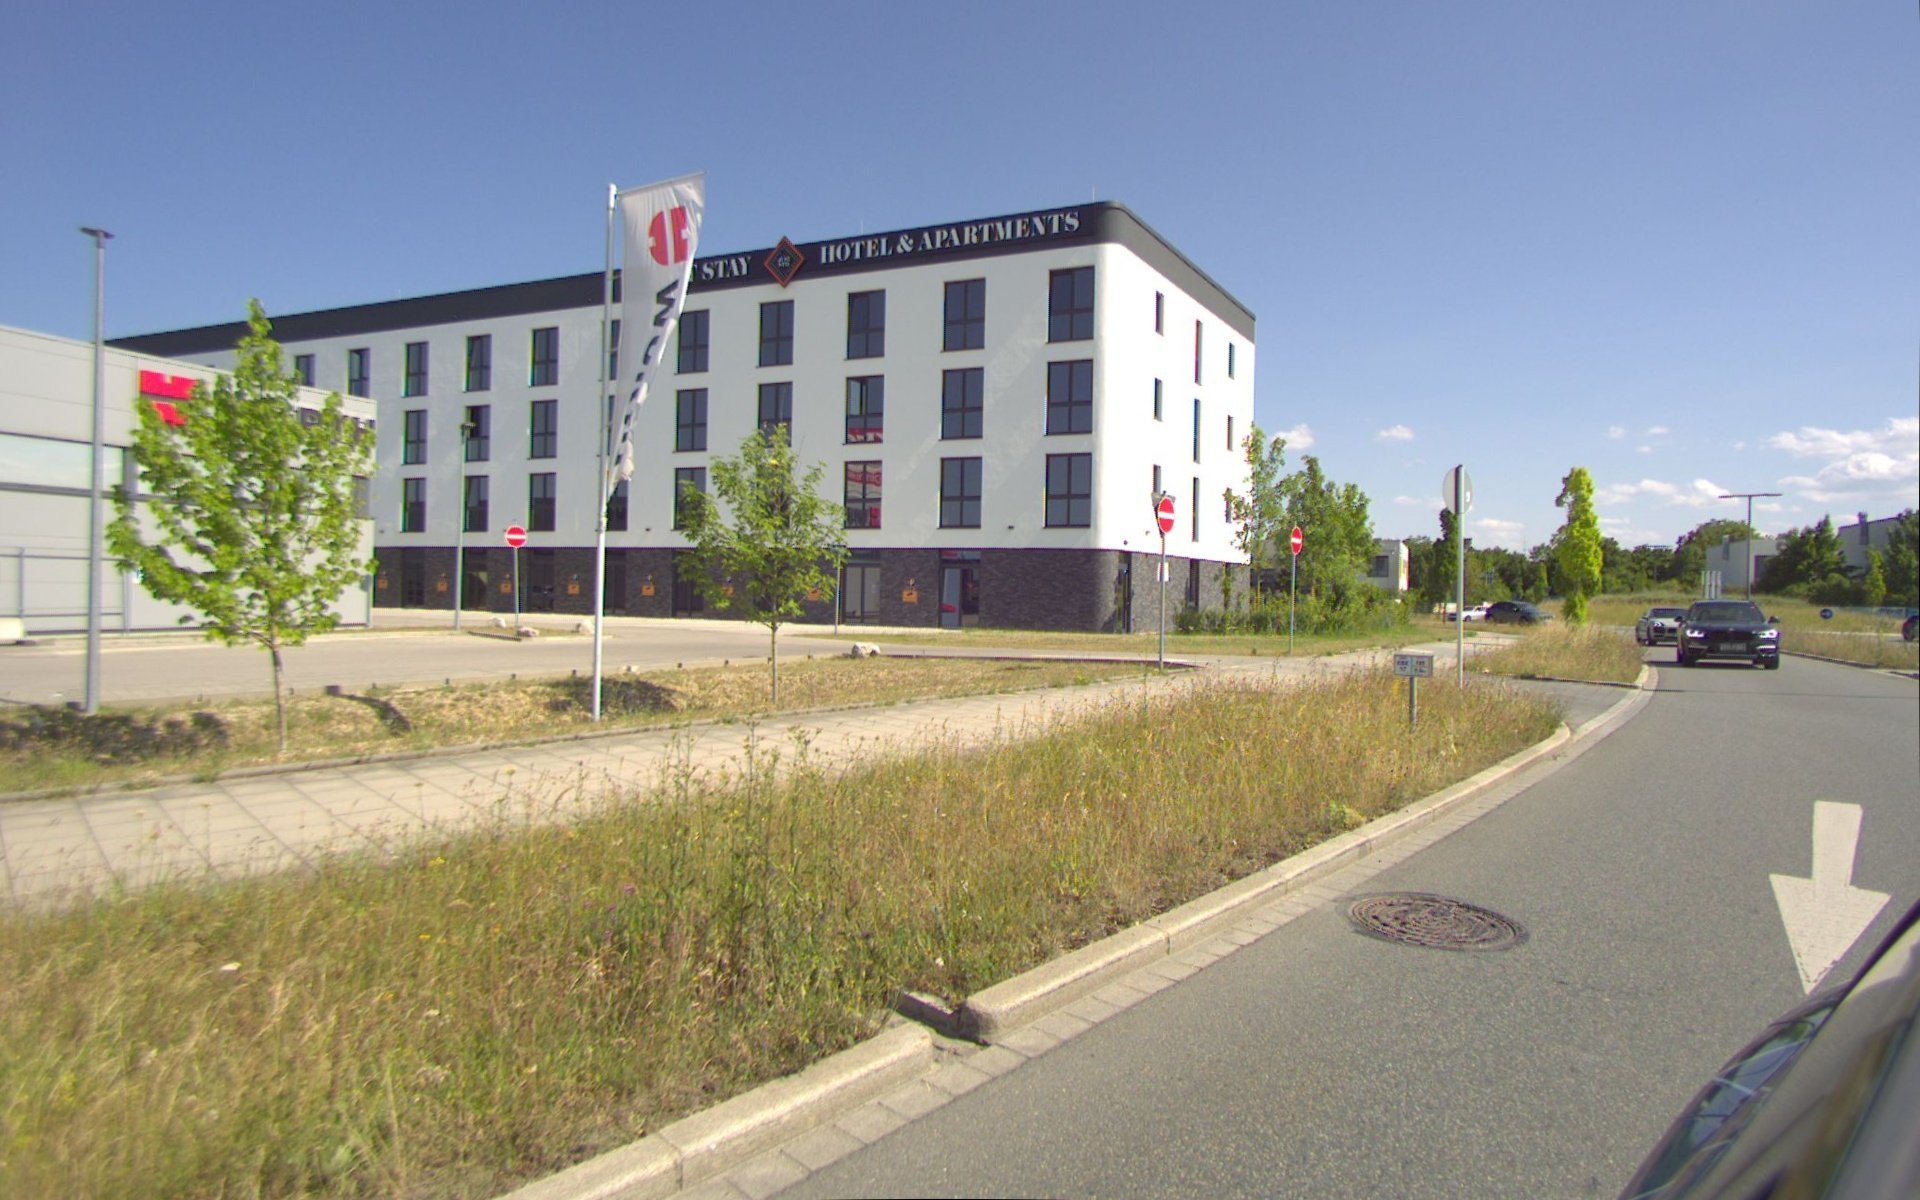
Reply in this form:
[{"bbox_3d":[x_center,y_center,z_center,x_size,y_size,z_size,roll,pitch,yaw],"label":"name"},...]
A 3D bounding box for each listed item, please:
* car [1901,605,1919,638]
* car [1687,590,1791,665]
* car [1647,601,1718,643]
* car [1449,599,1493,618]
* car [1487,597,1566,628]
[{"bbox_3d":[49.263,1.064,50.906,4.434,1.627,1.759,0,1,-33],"label":"car"},{"bbox_3d":[19.285,0.661,25.167,1.891,1.701,4.406,0,-1,37],"label":"car"},{"bbox_3d":[31.048,0.950,43.596,2.099,1.664,4.723,1,-1,31],"label":"car"},{"bbox_3d":[42.968,0.686,85.015,3.931,1.545,1.997,0,1,-41],"label":"car"},{"bbox_3d":[34.353,0.741,61.515,1.721,1.709,4.390,1,1,-12],"label":"car"}]
